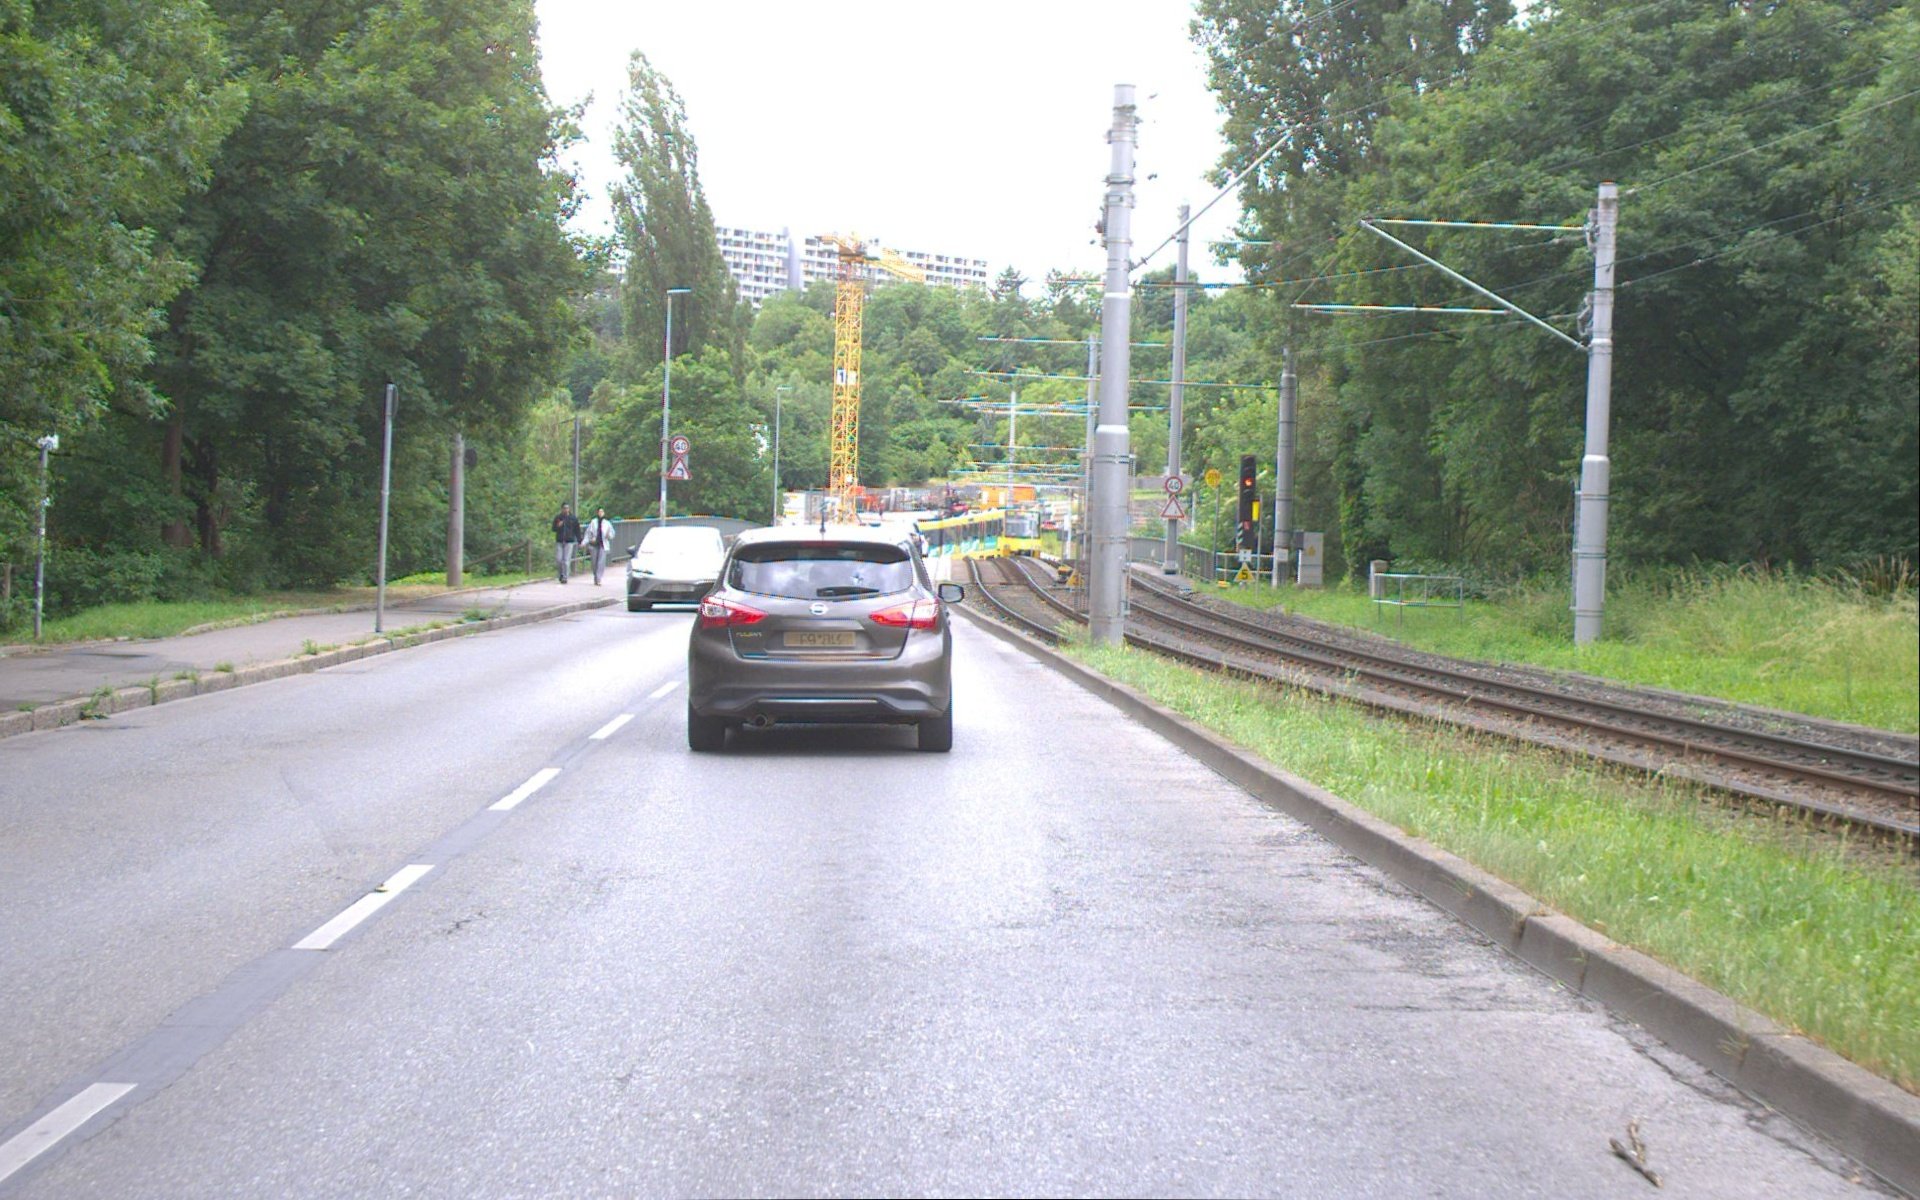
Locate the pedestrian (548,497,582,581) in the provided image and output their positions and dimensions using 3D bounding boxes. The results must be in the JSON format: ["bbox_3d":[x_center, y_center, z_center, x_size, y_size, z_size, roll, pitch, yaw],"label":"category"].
[{"bbox_3d":[-8.666,-1.337,75.401,0.587,1.797,0.822,3,1,-2],"label":"pedestrian"}]

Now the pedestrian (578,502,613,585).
[{"bbox_3d":[-8.005,-1.247,75.494,0.551,1.759,0.858,5,1,-2],"label":"pedestrian"}]

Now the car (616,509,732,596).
[{"bbox_3d":[-5.101,-0.882,61.728,1.794,1.487,4.181,-1,2,-1],"label":"car"}]

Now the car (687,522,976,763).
[{"bbox_3d":[-0.948,0.233,24.194,1.829,1.504,4.001,1,1,-3],"label":"car"}]

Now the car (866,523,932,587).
[{"bbox_3d":[-1.623,-1.239,92.712,1.680,1.601,4.309,2,2,-1],"label":"car"}]

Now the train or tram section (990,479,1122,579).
[{"bbox_3d":[5.399,-3.988,200.992,3.027,5.164,23.061,3,-1,-10],"label":"train or tram section"}]
